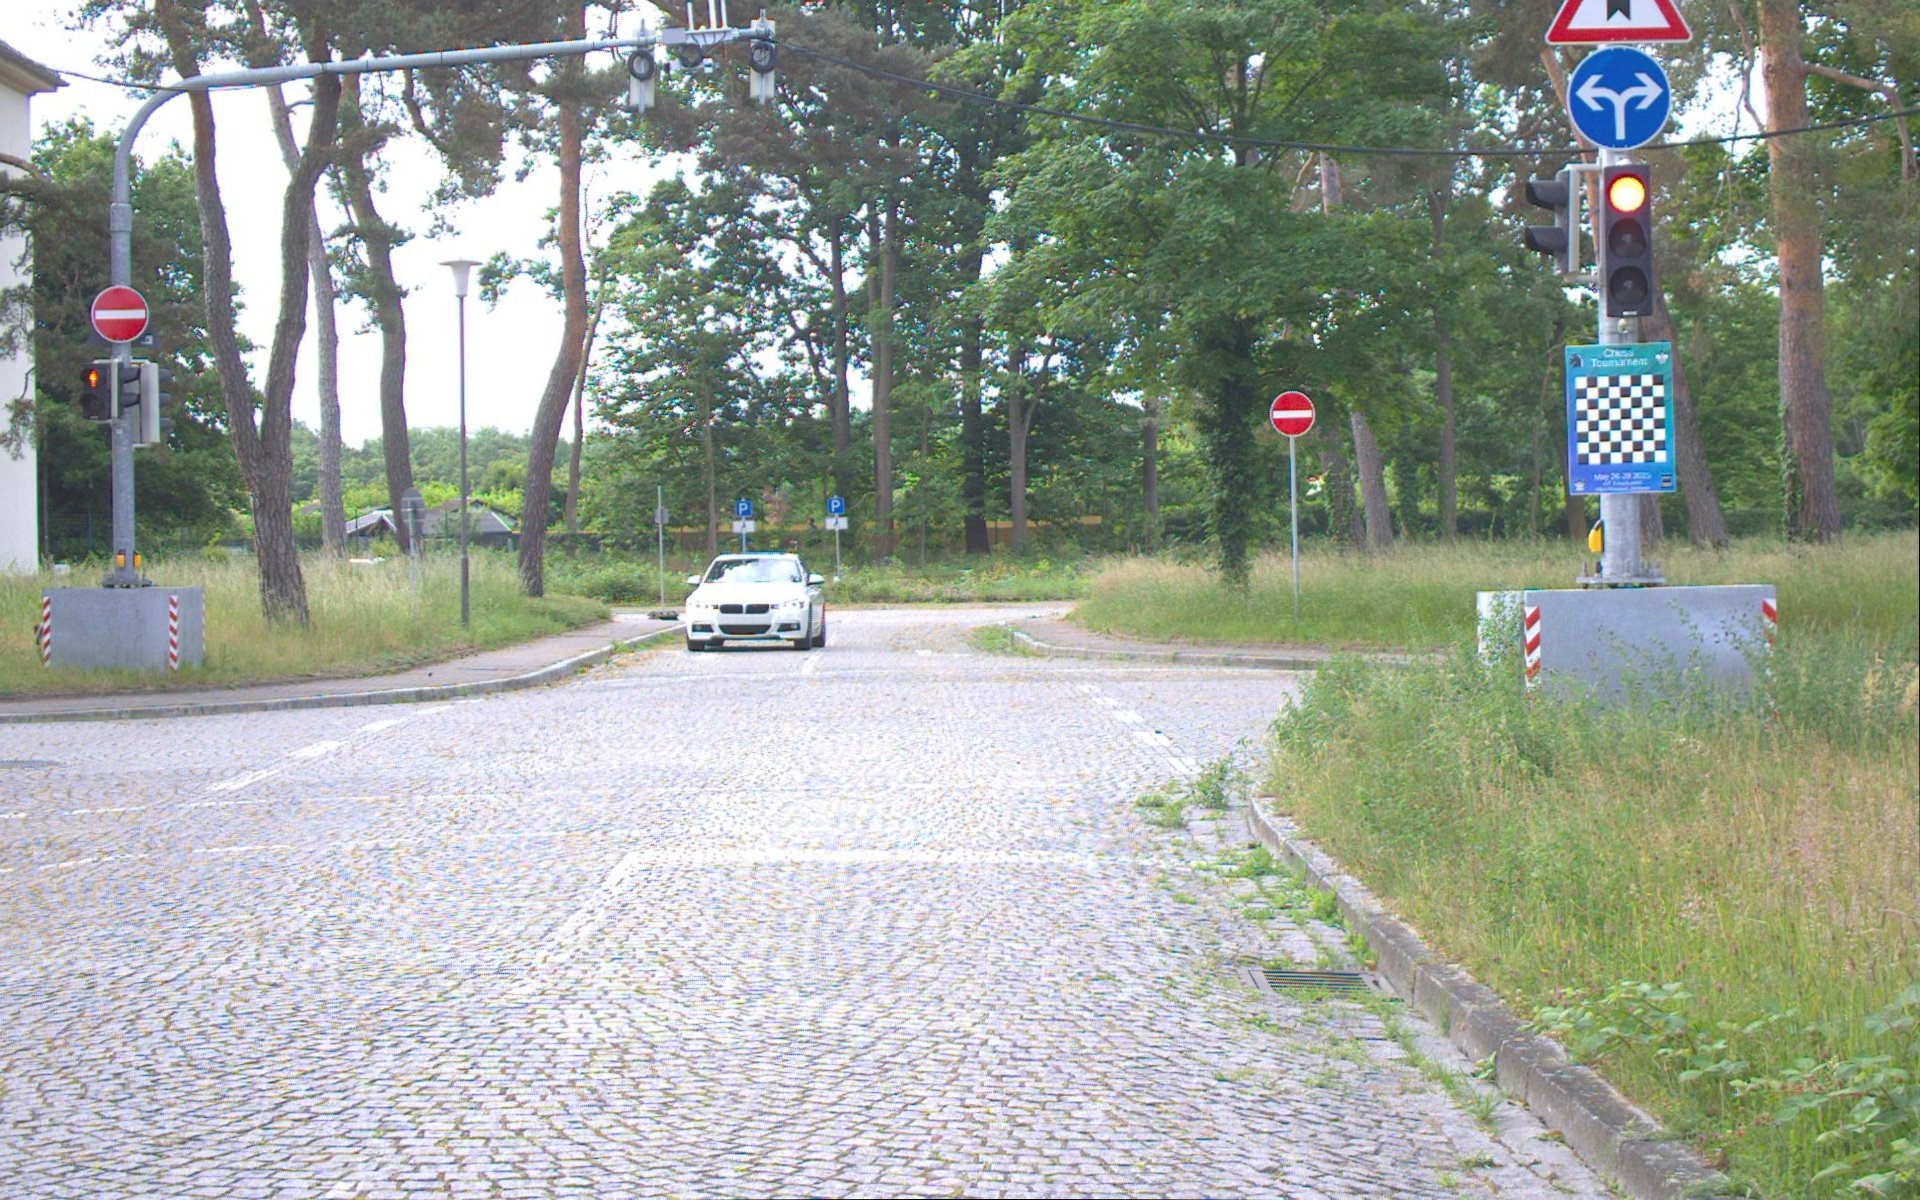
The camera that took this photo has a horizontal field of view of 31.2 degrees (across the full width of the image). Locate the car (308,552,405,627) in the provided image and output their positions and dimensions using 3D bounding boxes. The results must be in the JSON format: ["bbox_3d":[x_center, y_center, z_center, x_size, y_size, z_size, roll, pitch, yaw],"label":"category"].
[{"bbox_3d":[-15.409,-0.289,87.916,1.993,1.840,4.001,1,1,-4],"label":"car"}]

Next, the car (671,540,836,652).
[{"bbox_3d":[-2.982,-0.096,50.532,1.773,1.433,4.218,-3,1,5],"label":"car"}]
